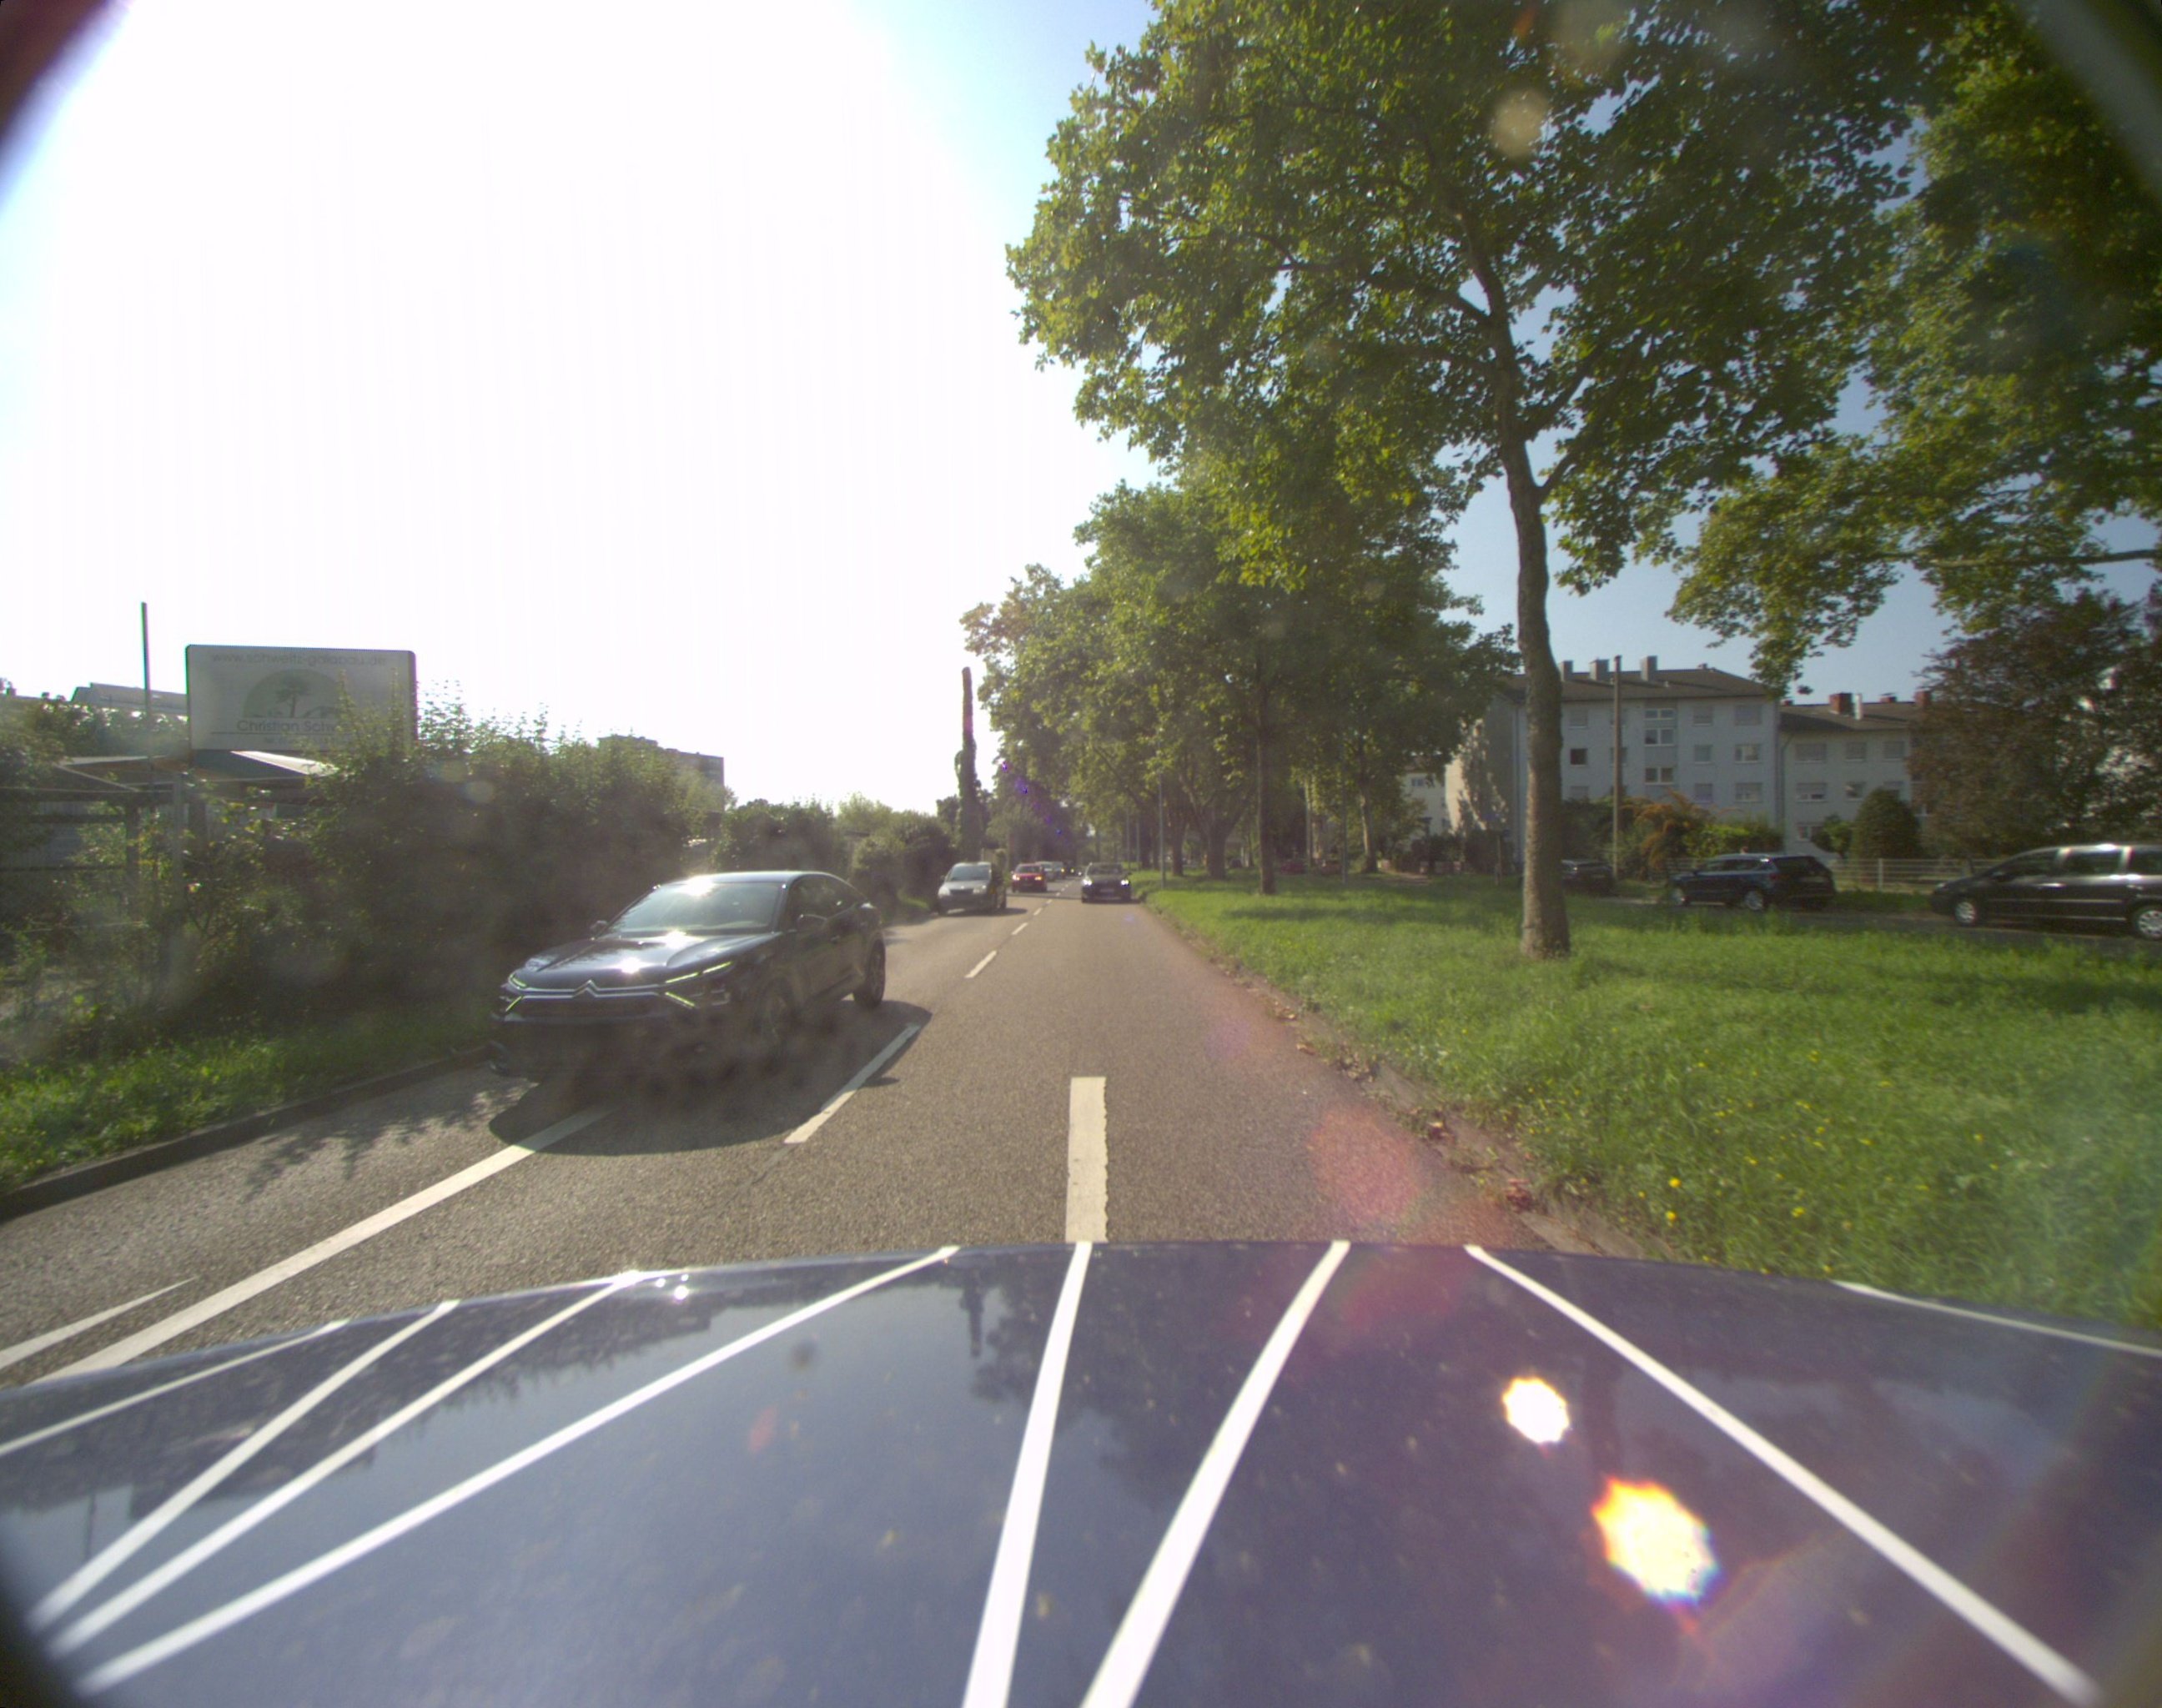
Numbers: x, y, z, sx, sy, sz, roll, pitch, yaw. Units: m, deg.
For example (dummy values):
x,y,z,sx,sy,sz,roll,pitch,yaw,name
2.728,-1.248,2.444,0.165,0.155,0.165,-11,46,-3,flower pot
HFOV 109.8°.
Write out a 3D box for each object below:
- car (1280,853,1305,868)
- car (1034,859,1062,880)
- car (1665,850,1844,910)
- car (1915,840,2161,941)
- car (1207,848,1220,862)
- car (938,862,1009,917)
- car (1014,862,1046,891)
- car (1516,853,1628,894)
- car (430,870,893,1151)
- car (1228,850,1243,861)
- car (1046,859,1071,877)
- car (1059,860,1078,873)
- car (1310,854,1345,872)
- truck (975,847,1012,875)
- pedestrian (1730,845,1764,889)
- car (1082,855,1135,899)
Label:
x,y,z,sx,sy,sz,roll,pitch,yaw,name
20.927,0.629,75.369,1.542,1.443,4.065,-1,0,3,car
-2.512,1.189,58.465,1.648,1.467,3.900,-1,0,5,car
19.263,0.693,21.993,1.703,1.558,4.000,-1,0,2,car
19.375,0.609,14.572,1.703,1.722,4.660,-1,0,2,car
25.400,0.152,145.728,2.212,2.465,6.063,-1,0,6,car
-3.321,1.053,24.143,1.649,1.547,3.899,0,0,1,car
-2.615,1.118,39.534,1.579,1.390,3.470,0,0,-3,car
19.804,0.756,30.912,1.703,1.499,4.541,-1,0,2,car
-3.049,0.988,6.694,1.649,1.579,4.254,0,0,1,car
22.613,0.173,111.091,1.526,1.524,3.864,0,1,2,car
-2.009,1.221,68.508,1.648,1.467,3.901,-1,0,6,car
-1.368,1.377,86.890,1.648,1.378,3.901,-1,0,6,car
20.592,0.723,63.671,1.806,1.421,4.065,-2,0,3,car
-7.237,0.554,63.380,1.919,2.220,6.914,-1,0,3,truck
25.645,0.498,29.277,0.648,1.636,0.735,-1,1,0,pedestrian
0.971,0.832,28.629,1.862,1.572,3.612,0,-1,0,car
